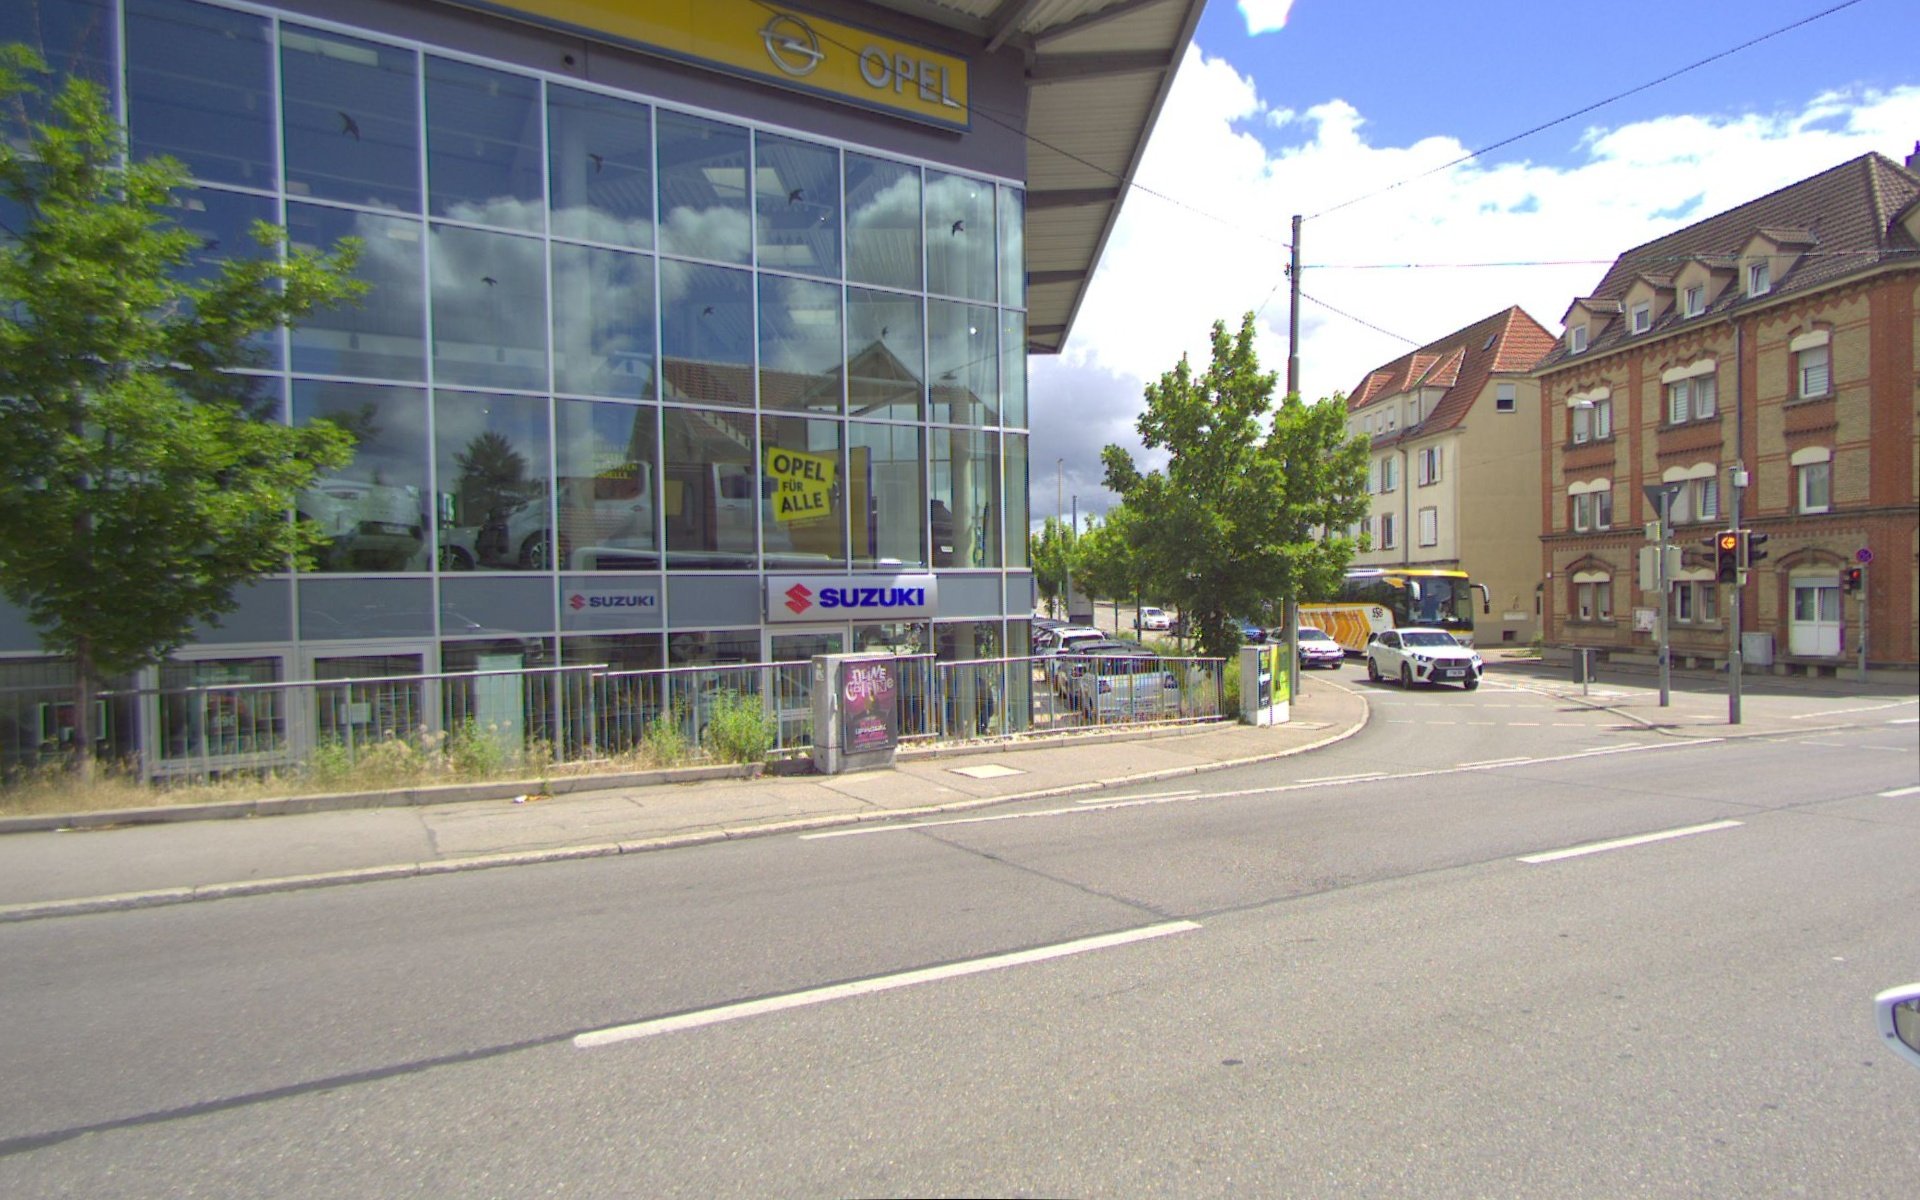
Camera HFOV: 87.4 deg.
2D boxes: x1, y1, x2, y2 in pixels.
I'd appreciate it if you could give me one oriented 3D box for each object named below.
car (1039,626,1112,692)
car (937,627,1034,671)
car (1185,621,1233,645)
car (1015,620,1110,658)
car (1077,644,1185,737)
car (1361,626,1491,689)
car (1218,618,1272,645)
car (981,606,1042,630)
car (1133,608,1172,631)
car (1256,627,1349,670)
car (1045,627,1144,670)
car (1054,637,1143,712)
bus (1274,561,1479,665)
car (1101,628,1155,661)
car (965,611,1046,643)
[{"bbox_3d":[3.306,1.650,29.270,1.620,1.703,3.499,-1,0,-2],"label":"car"},{"bbox_3d":[0.884,1.776,36.888,3.432,1.467,1.799,-1,0,-3],"label":"car"},{"bbox_3d":[15.633,2.074,63.292,1.874,1.428,3.999,1,-1,-2],"label":"car"},{"bbox_3d":[4.580,1.737,45.086,3.925,1.574,1.806,1,-1,-7],"label":"car"},{"bbox_3d":[3.377,1.754,20.363,1.648,1.582,3.365,-1,0,1],"label":"car"},{"bbox_3d":[12.699,1.518,27.666,1.797,1.572,4.308,1,-1,4],"label":"car"},{"bbox_3d":[15.796,1.740,55.844,1.717,1.428,3.999,1,-1,-3],"label":"car"},{"bbox_3d":[3.428,1.203,67.473,3.922,1.574,1.807,1,-1,-1],"label":"car"},{"bbox_3d":[13.658,1.406,71.513,1.874,1.574,3.999,1,-1,-2],"label":"car"},{"bbox_3d":[12.307,1.717,36.288,1.849,1.437,3.618,1,-1,-5],"label":"car"},{"bbox_3d":[4.949,1.775,37.319,3.430,1.497,1.800,1,-1,1],"label":"car"},{"bbox_3d":[3.318,1.761,24.573,1.584,1.547,3.499,-1,0,-2],"label":"car"},{"bbox_3d":[16.853,0.542,42.126,2.718,3.670,12.257,1,-1,-4],"label":"bus"},{"bbox_3d":[8.155,2.150,48.988,1.766,1.467,3.498,1,-1,-5],"label":"car"},{"bbox_3d":[2.363,1.404,52.789,3.930,1.574,1.804,1,-1,-12],"label":"car"}]
